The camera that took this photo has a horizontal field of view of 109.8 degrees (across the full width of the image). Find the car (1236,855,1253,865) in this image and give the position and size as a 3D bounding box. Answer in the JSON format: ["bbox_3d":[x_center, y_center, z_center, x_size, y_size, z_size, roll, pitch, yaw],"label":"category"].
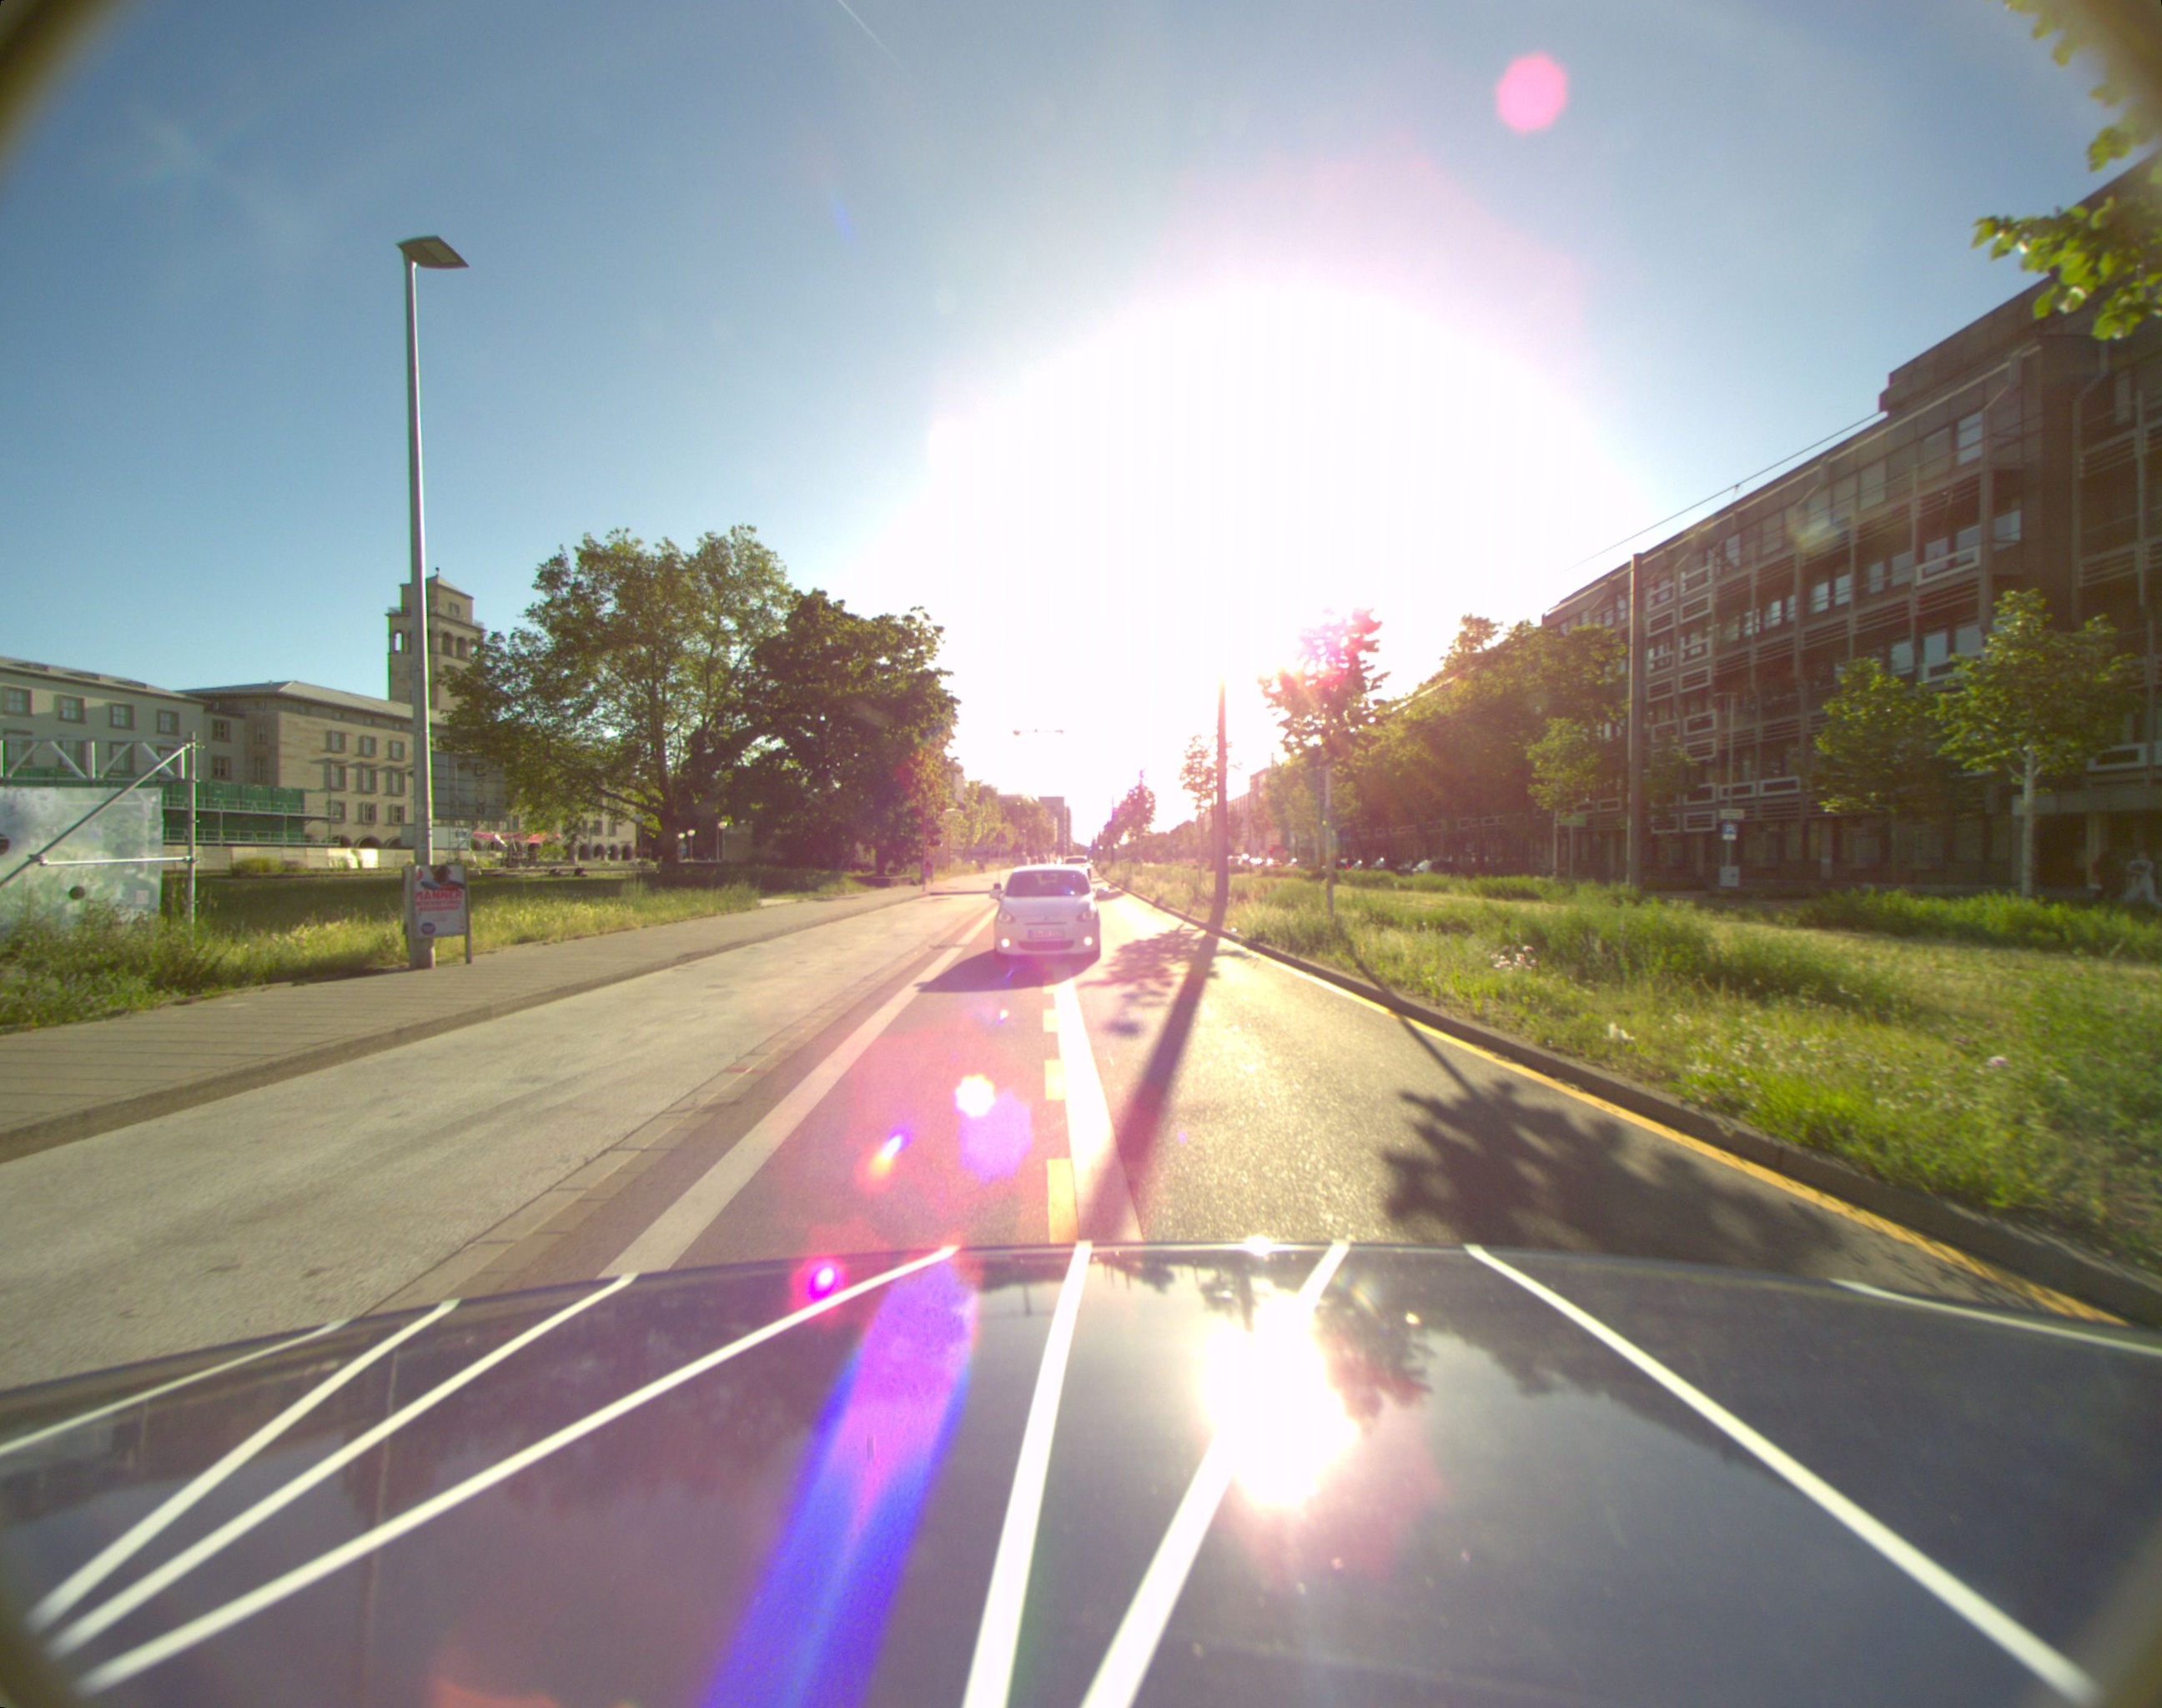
[{"bbox_3d":[22.661,0.774,105.454,1.555,1.371,3.780,0,0,1],"label":"car"}]

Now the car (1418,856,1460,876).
[{"bbox_3d":[29.601,0.944,62.905,1.726,1.535,3.631,-2,0,-1],"label":"car"}]

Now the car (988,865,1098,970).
[{"bbox_3d":[-0.638,0.983,13.213,1.615,1.488,3.394,-2,0,-2],"label":"car"}]

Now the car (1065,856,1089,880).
[{"bbox_3d":[-0.278,0.945,52.328,1.459,1.472,3.527,-5,0,-1],"label":"car"}]

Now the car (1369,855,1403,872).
[{"bbox_3d":[29.812,0.887,74.317,1.726,1.592,3.631,-2,0,-1],"label":"car"}]

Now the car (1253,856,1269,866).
[{"bbox_3d":[26.410,1.027,111.390,1.555,1.371,3.780,0,0,1],"label":"car"}]

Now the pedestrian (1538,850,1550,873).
[{"bbox_3d":[35.145,0.576,57.695,0.483,1.739,0.639,0,1,1],"label":"pedestrian"}]

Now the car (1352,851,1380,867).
[{"bbox_3d":[29.894,0.493,79.785,1.511,1.592,3.526,-2,0,-1],"label":"car"}]

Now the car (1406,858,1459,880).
[{"bbox_3d":[23.439,0.968,50.801,1.720,1.379,4.040,0,0,1],"label":"car"}]

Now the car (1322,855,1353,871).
[{"bbox_3d":[25.075,0.866,74.492,1.632,1.487,4.417,0,0,1],"label":"car"}]

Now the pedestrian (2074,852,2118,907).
[{"bbox_3d":[29.377,0.728,21.990,0.521,1.569,0.536,0,1,3],"label":"pedestrian"}]

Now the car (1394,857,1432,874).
[{"bbox_3d":[29.945,1.004,68.689,1.726,1.477,3.631,0,0,-2],"label":"car"}]

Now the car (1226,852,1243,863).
[{"bbox_3d":[23.340,0.572,115.301,1.865,1.671,3.780,0,0,1],"label":"car"}]

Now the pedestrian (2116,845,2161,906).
[{"bbox_3d":[30.207,0.615,21.712,0.521,1.712,0.536,0,1,3],"label":"pedestrian"}]

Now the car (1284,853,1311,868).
[{"bbox_3d":[21.833,0.641,76.753,1.632,1.487,3.780,0,0,1],"label":"car"}]

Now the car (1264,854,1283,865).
[{"bbox_3d":[25.741,0.684,101.534,1.632,1.487,3.780,0,0,1],"label":"car"}]

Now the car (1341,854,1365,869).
[{"bbox_3d":[30.378,0.828,84.983,1.390,1.592,3.266,-2,0,-1],"label":"car"}]
